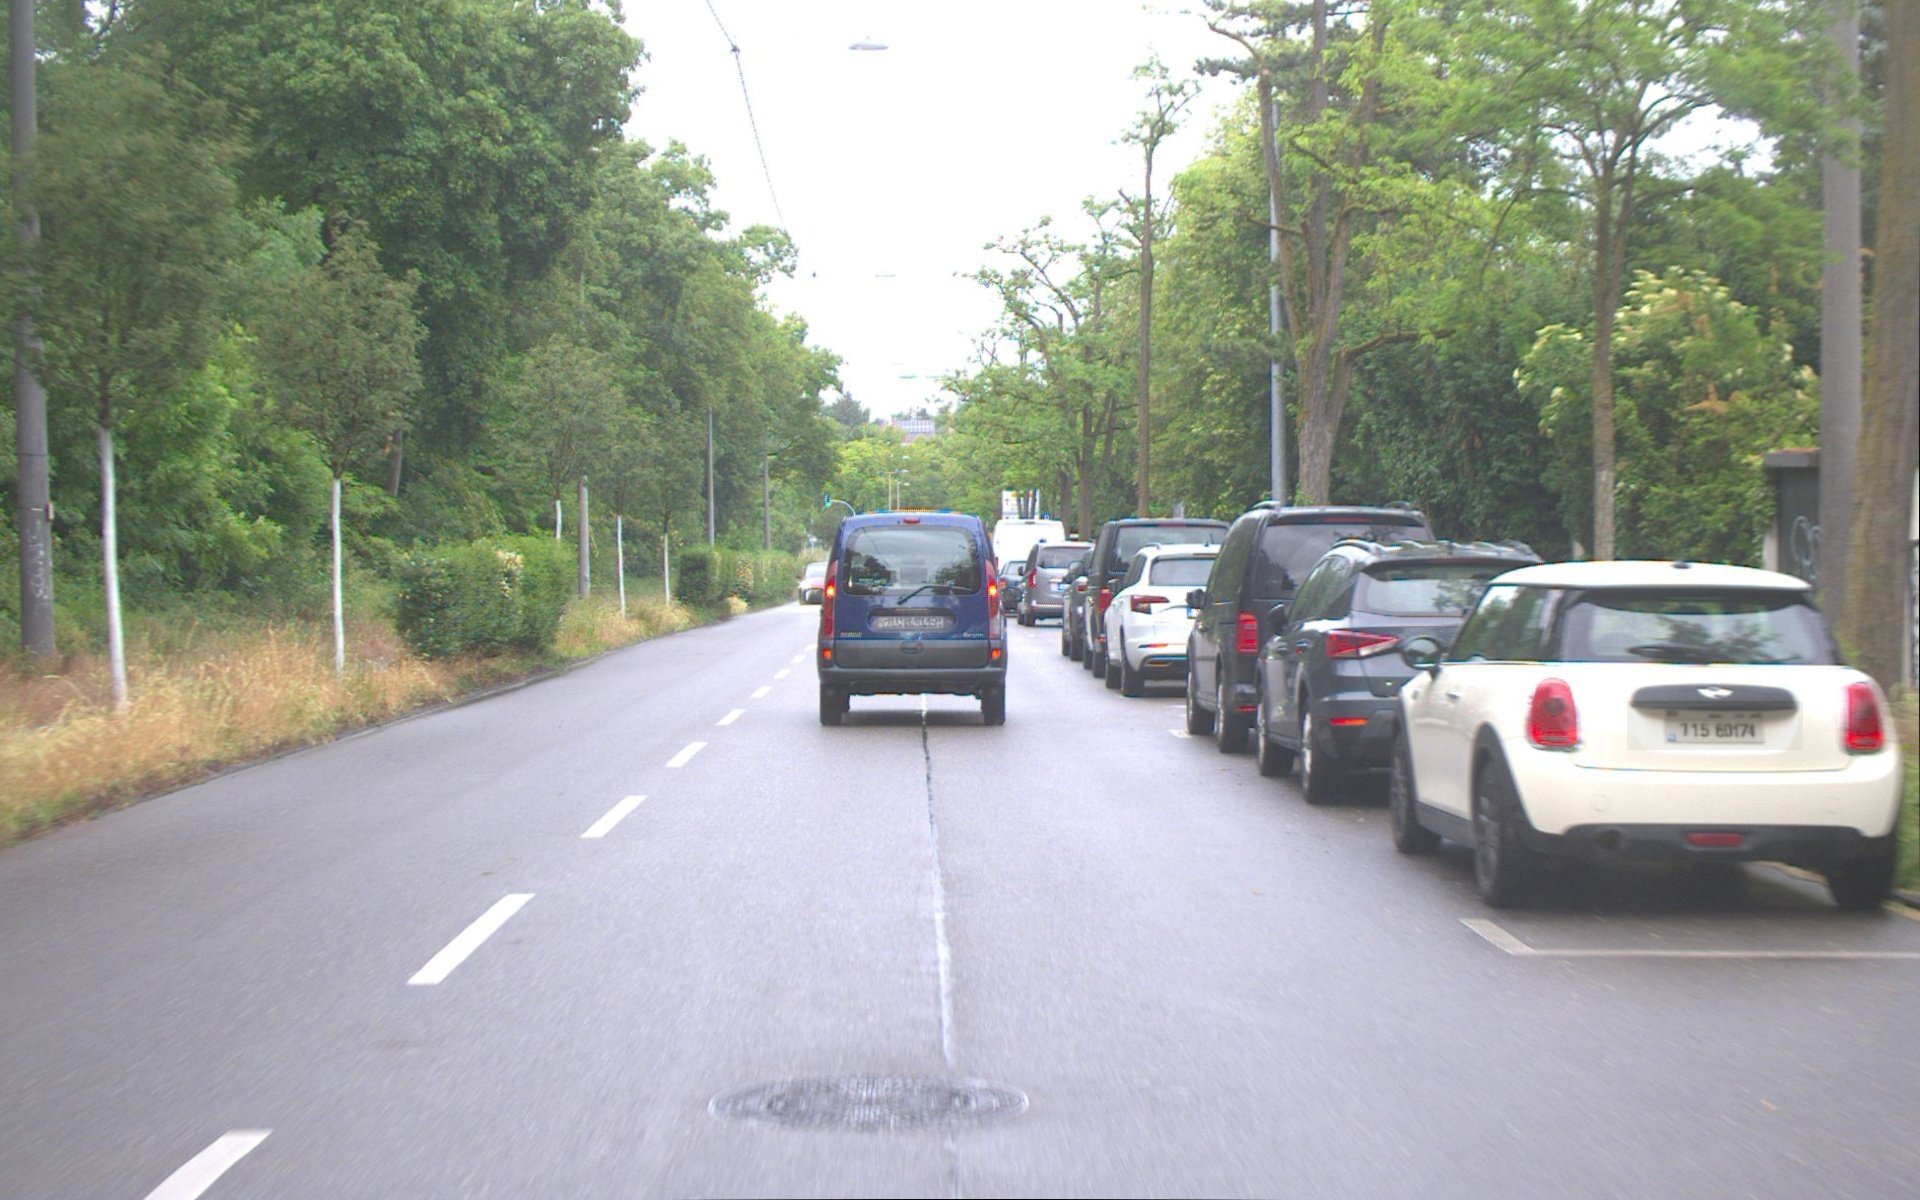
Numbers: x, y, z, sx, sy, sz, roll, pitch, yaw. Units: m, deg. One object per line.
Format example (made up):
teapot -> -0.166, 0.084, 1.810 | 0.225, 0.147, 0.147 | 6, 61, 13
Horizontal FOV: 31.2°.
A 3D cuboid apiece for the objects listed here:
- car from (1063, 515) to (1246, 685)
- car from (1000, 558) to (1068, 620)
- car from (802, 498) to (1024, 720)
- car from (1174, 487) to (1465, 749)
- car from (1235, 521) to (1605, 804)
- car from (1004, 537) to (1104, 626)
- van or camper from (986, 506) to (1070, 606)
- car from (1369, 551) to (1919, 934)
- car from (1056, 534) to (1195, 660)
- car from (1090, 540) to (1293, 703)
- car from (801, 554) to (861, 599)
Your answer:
car -> 2.401, -0.061, 43.616 | 1.993, 2.007, 4.888 | 1, 1, 0
car -> 1.885, -0.283, 86.703 | 1.626, 1.459, 3.807 | 1, 1, 2
car -> -0.473, 0.036, 30.406 | 1.766, 1.824, 3.542 | 1, 1, -3
car -> 2.690, 0.077, 26.566 | 1.730, 1.841, 4.230 | 1, 1, -1
car -> 2.733, 0.305, 21.258 | 1.678, 1.550, 4.076 | 1, 1, -1
car -> 1.984, -0.427, 73.636 | 1.814, 1.807, 4.283 | 1, 1, -2
van or camper -> 1.833, -1.232, 94.583 | 2.078, 2.641, 5.346 | 1, 1, -1
car -> 2.965, 0.539, 15.480 | 1.738, 1.459, 3.725 | 1, 1, -1
car -> 2.375, -0.081, 50.141 | 1.773, 1.717, 4.327 | 1, 1, 0
car -> 2.446, 0.188, 37.229 | 1.804, 1.607, 4.286 | 1, 1, -1
car -> -4.418, -0.828, 118.161 | 1.860, 1.475, 4.156 | -1, 1, 0
